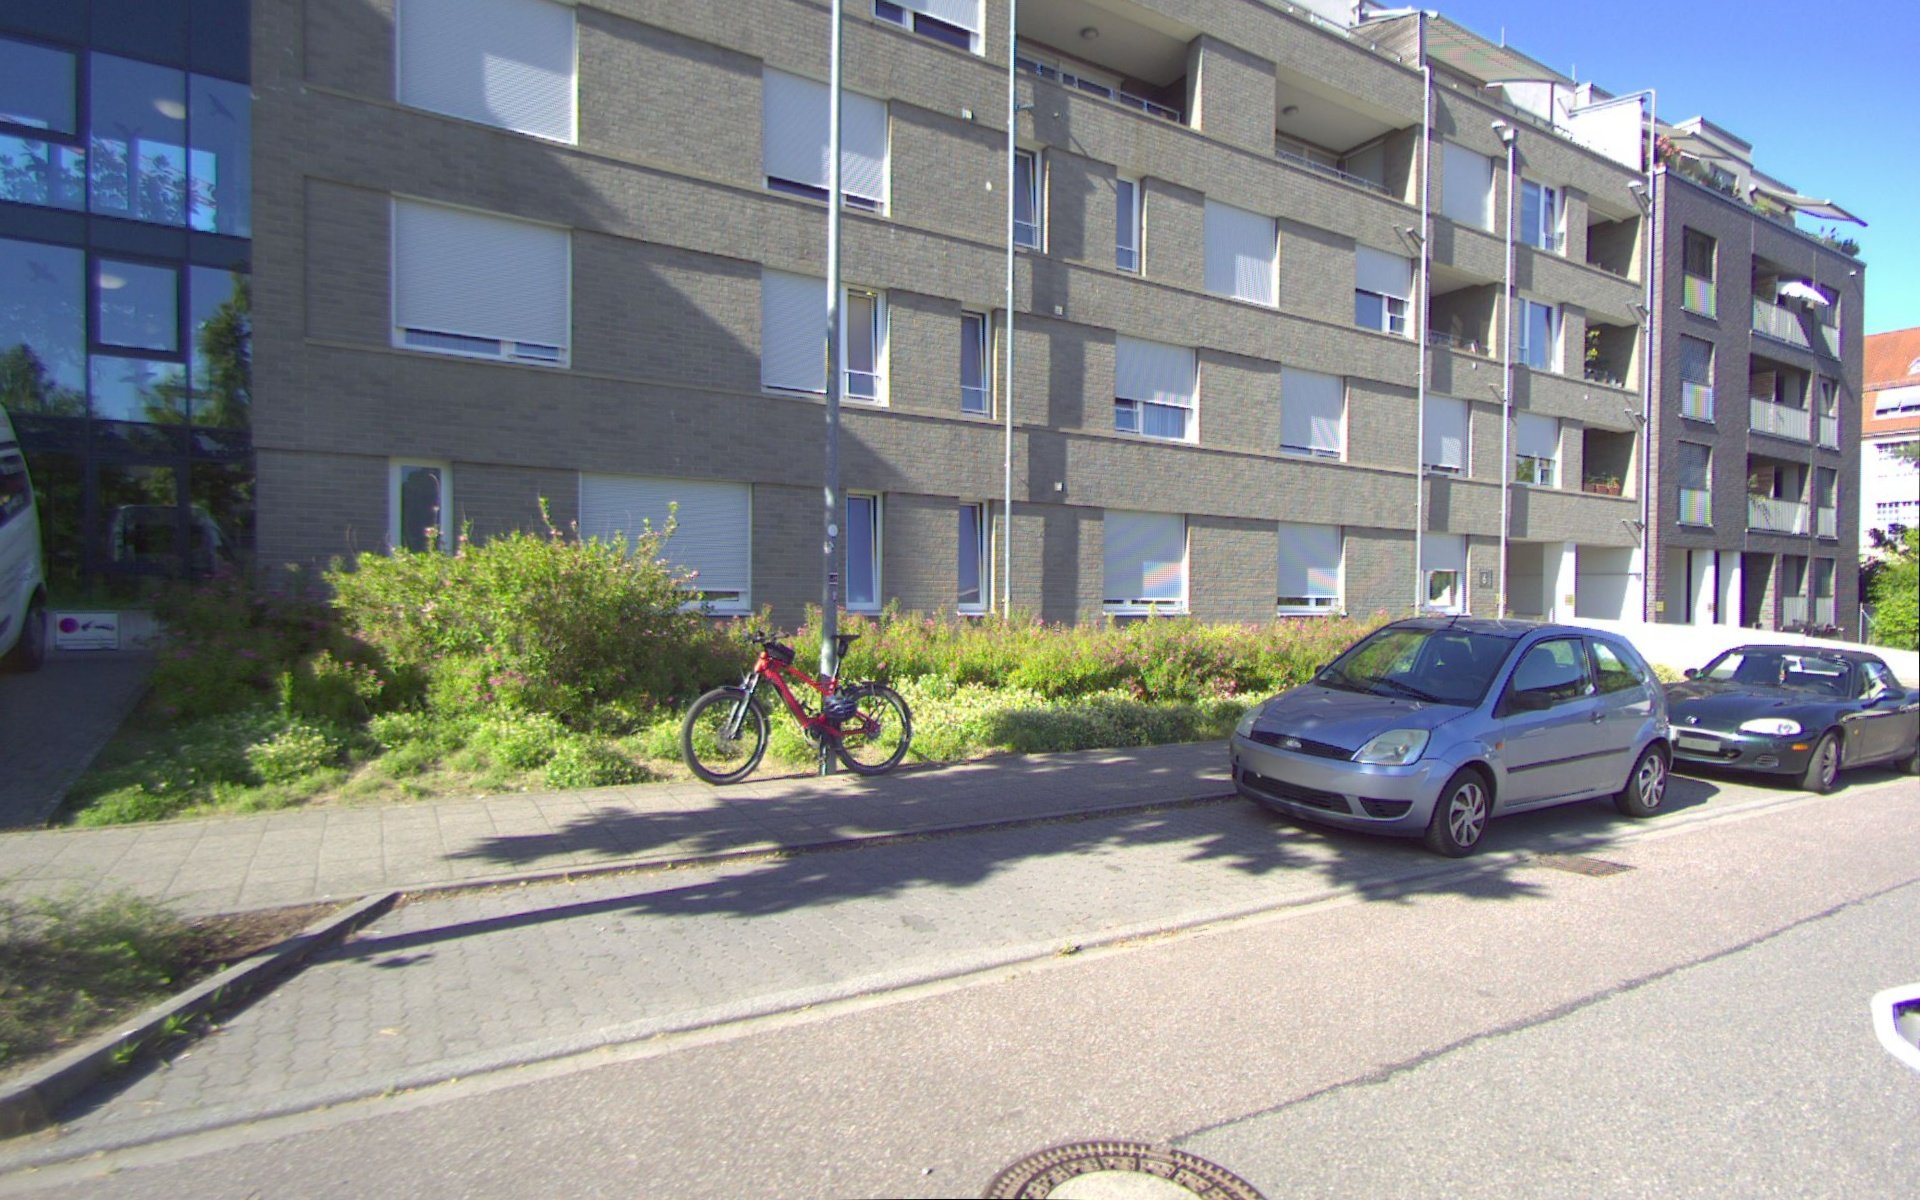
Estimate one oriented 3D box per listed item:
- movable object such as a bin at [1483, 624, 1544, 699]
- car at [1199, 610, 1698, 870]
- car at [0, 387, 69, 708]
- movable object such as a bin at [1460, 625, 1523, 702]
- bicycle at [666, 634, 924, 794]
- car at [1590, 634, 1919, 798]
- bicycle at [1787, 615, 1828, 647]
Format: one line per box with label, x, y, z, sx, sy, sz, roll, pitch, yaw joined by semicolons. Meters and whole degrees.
movable object such as a bin;8.546;0.932;15.515;0.629;1.098;0.604;0;1;-32
car;3.743;0.843;7.521;3.832;1.484;1.602;1;0;-33
car;-8.027;-0.406;7.039;1.902;2.415;5.411;1;8;-34
movable object such as a bin;7.959;0.934;15.049;0.629;1.105;0.604;0;1;-32
bicycle;-1.246;0.841;7.785;1.957;1.139;0.282;1;0;-25
car;8.176;1.023;10.027;3.830;1.233;1.591;1;2;-30
bicycle;23.846;0.869;28.261;1.752;0.849;0.252;0;1;-28
